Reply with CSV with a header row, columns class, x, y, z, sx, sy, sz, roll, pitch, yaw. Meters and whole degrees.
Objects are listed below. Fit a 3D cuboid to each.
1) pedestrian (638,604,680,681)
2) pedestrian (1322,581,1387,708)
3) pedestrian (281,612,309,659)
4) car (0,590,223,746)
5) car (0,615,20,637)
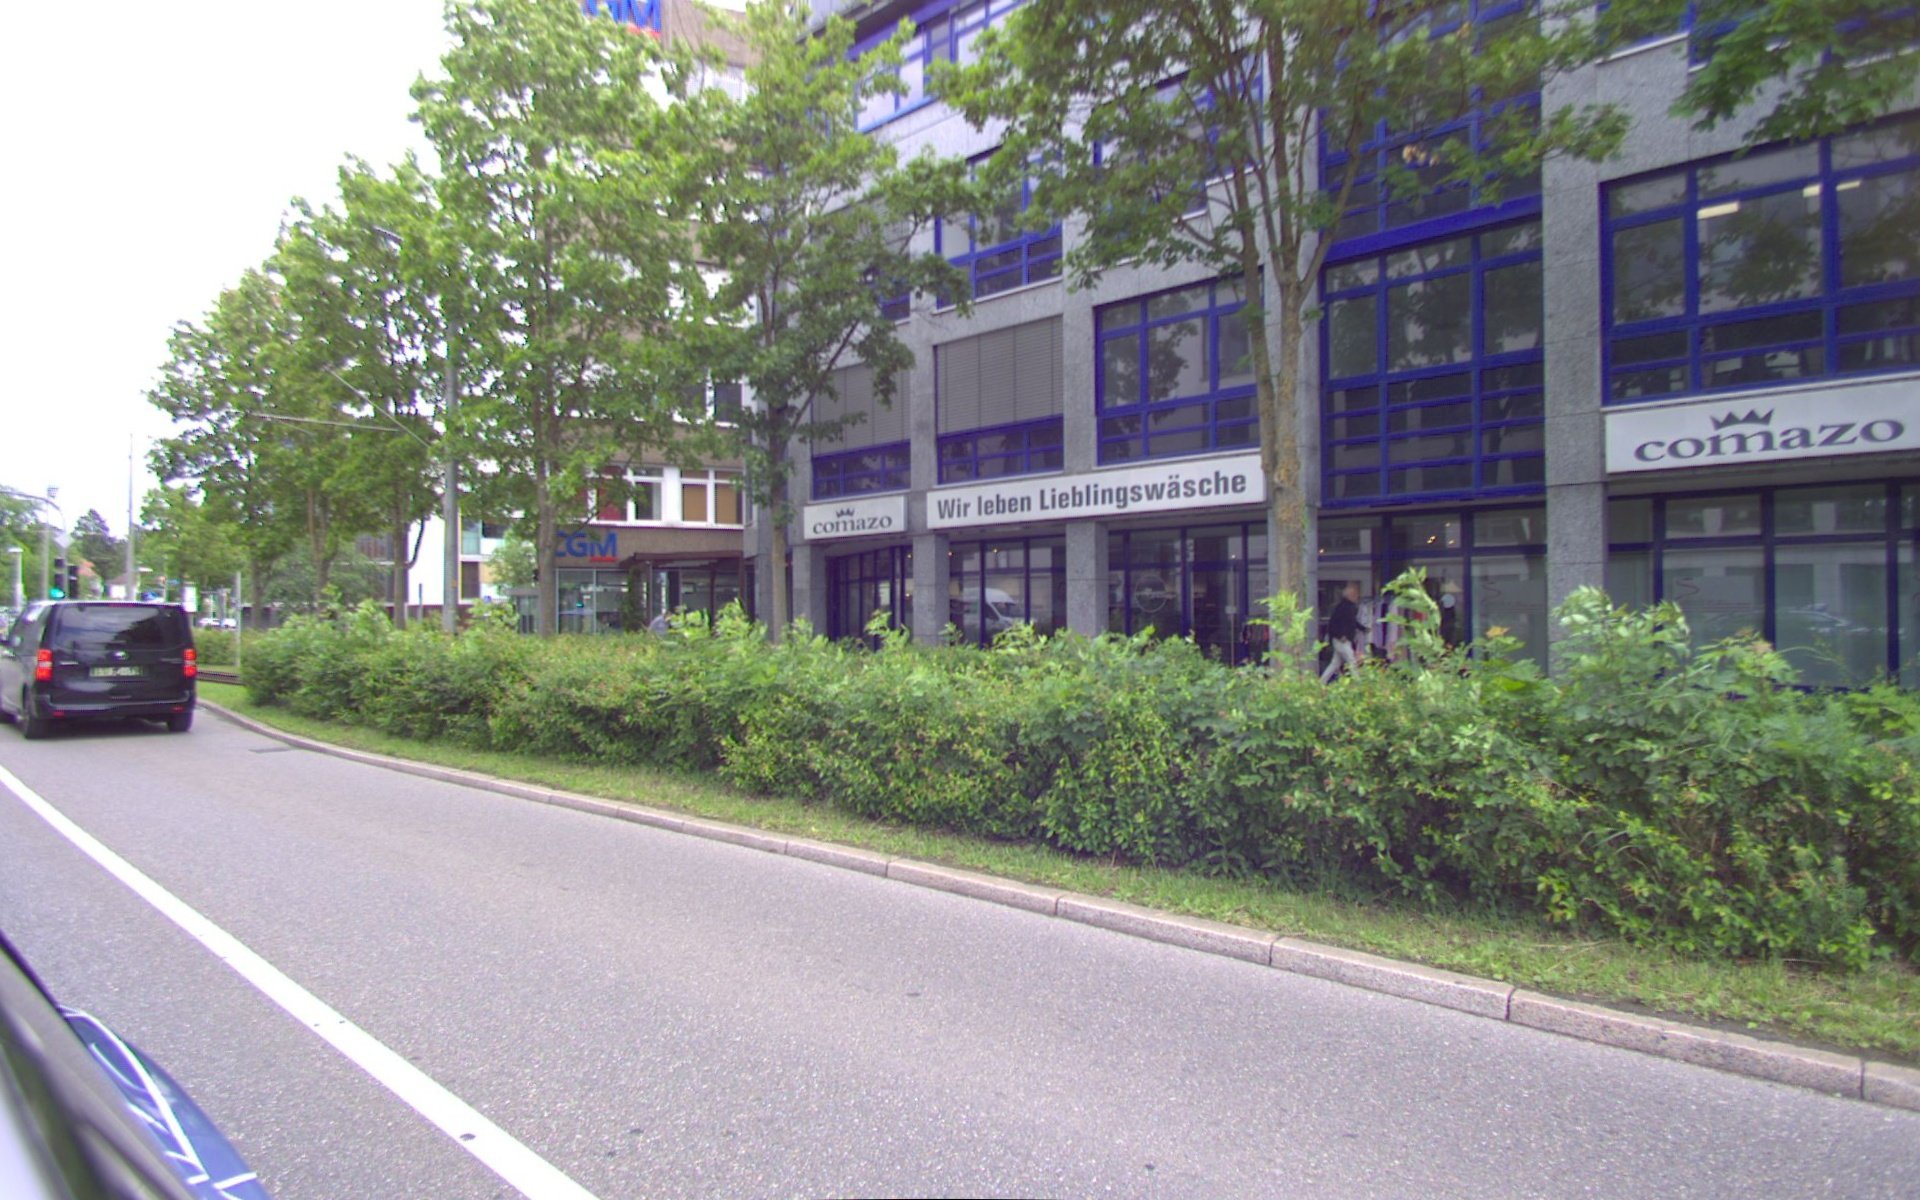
class,x,y,z,sx,sy,sz,roll,pitch,yaw
pedestrian,-7.358,1.019,24.720,0.730,1.819,0.672,-1,0,37
pedestrian,6.160,0.672,15.797,0.731,1.908,0.766,-1,0,40
pedestrian,-27.966,1.494,42.564,0.731,1.938,0.805,-1,0,40
car,-12.817,0.902,15.048,4.734,1.962,1.973,-1,-2,41
car,-90.153,2.451,94.765,1.965,2.029,4.013,0,0,-25
